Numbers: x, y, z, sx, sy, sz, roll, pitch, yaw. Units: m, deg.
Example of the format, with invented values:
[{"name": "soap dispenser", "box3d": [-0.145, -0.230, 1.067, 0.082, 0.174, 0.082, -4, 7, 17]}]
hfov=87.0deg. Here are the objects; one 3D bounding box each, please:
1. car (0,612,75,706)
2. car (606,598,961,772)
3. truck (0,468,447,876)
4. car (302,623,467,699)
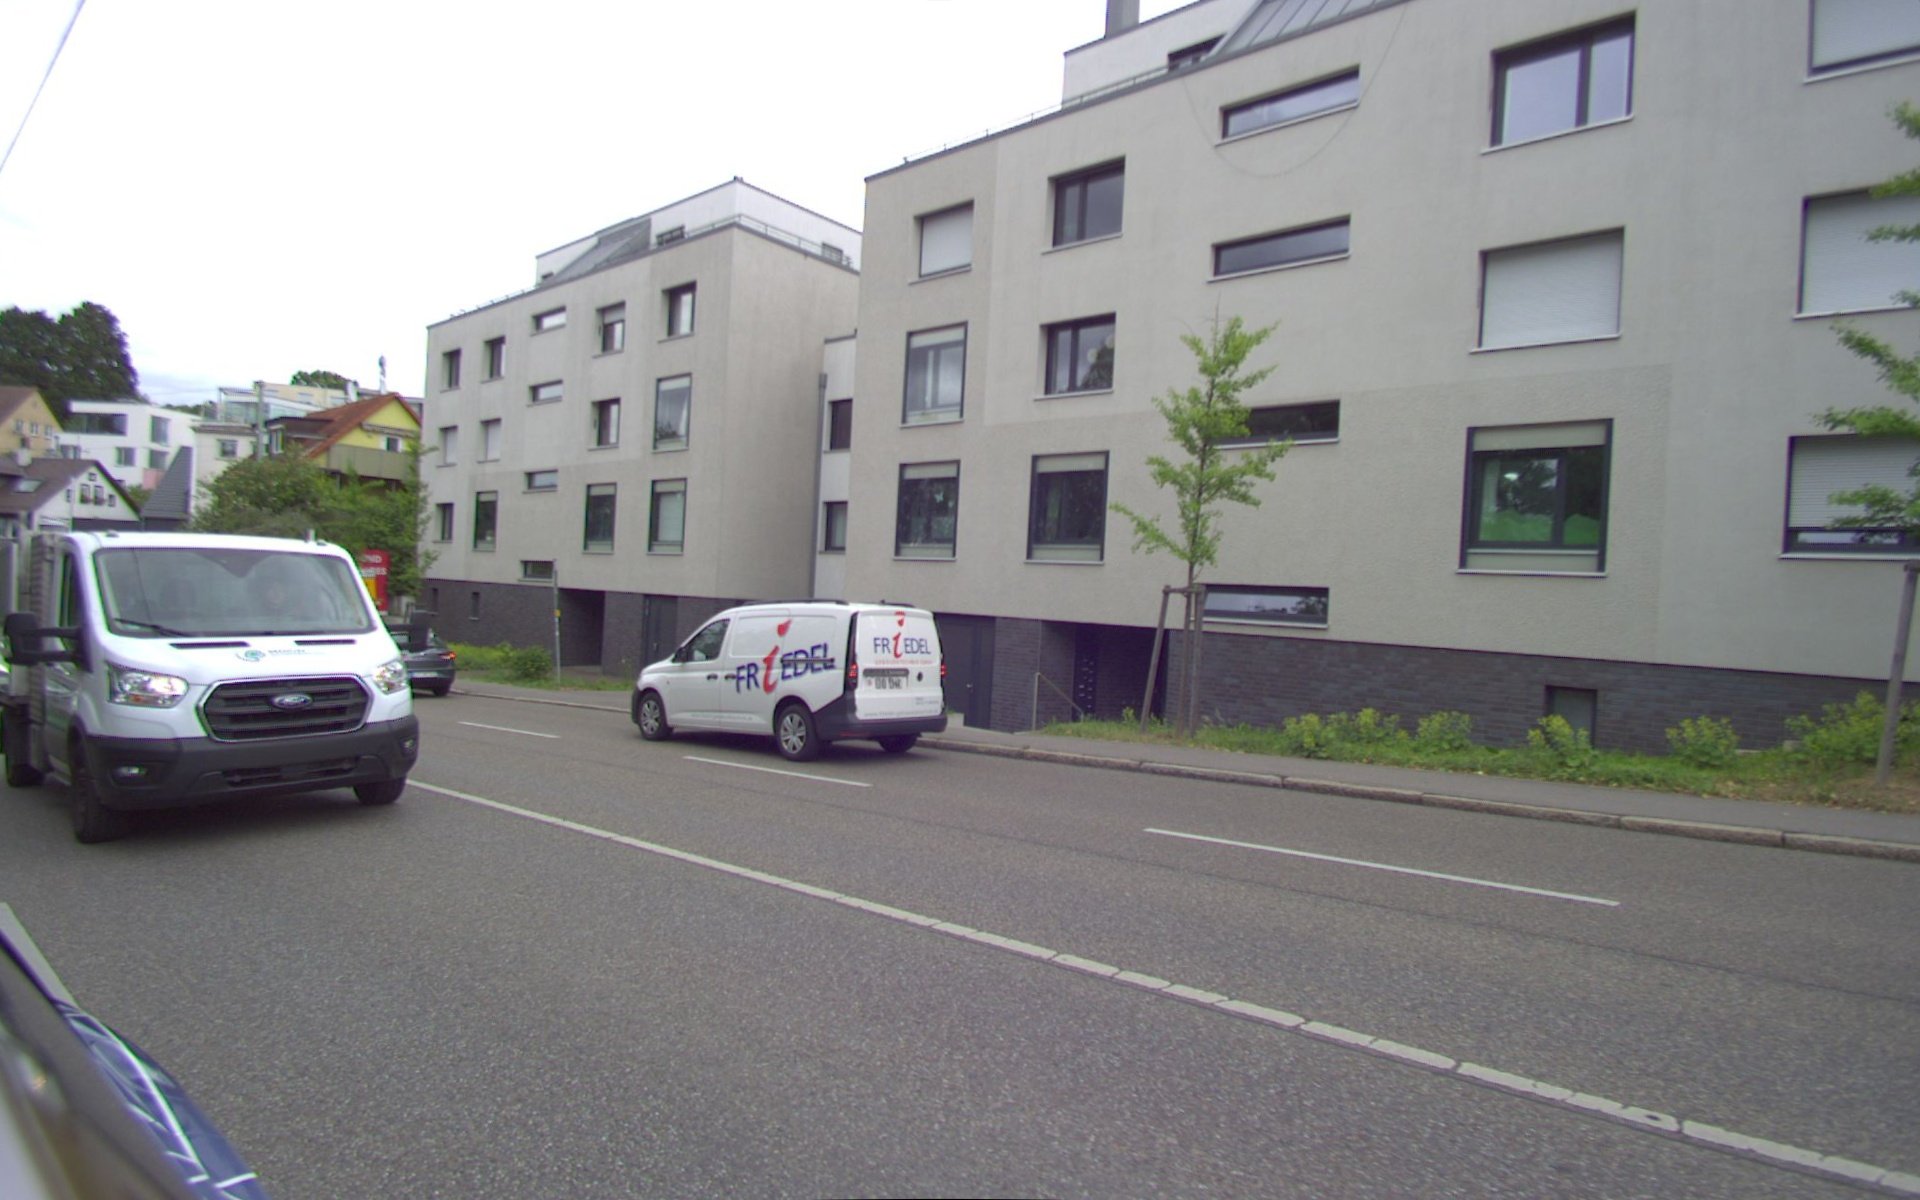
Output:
[{"name": "car", "box3d": [-17.712, 1.013, 18.320, 4.397, 1.492, 1.891, 0, 2, 40]}, {"name": "car", "box3d": [-2.386, 0.966, 12.776, 4.864, 1.802, 1.714, -1, -4, 41]}, {"name": "truck", "box3d": [-6.821, 0.475, 8.641, 6.327, 2.339, 2.054, -1, -2, 40]}, {"name": "car", "box3d": [-12.550, 1.279, 21.957, 4.421, 1.475, 1.714, -1, -4, 41]}]
